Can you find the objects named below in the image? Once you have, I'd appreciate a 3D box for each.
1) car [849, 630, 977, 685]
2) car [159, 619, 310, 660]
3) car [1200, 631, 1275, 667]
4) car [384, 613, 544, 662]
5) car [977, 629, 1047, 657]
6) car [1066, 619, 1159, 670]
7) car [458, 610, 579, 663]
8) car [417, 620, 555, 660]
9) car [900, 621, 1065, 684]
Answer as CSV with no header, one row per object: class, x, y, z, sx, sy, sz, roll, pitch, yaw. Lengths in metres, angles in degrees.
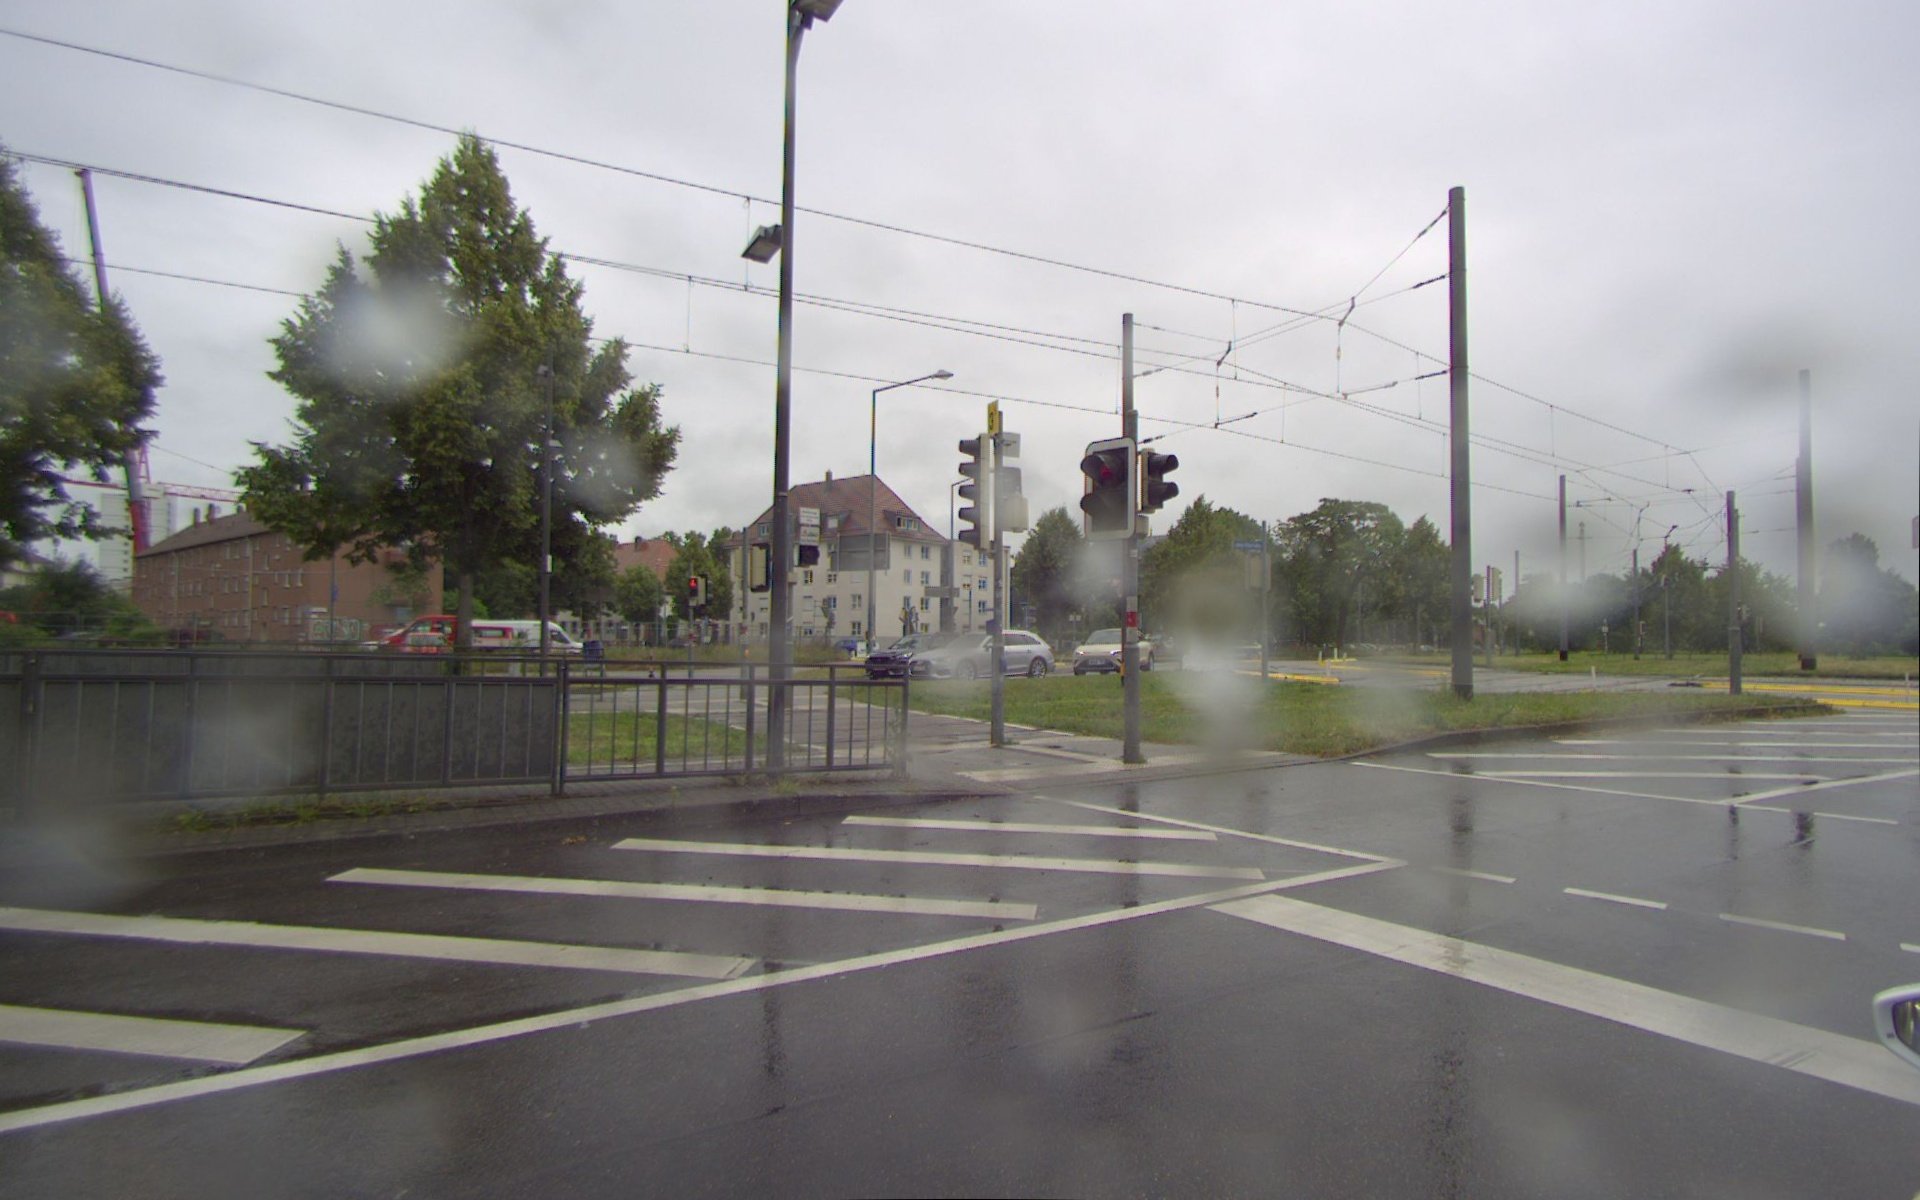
car,-1.378,1.708,31.069,1.802,1.506,3.985,2,0,37
car,-39.494,2.132,54.851,2.325,2.040,6.388,2,0,44
car,19.703,3.441,71.409,4.750,2.358,1.998,2,0,-6
car,-22.773,1.739,46.497,6.329,2.040,2.346,2,0,-20
car,3.828,3.139,73.726,4.747,1.835,1.999,2,0,22
car,5.133,1.418,33.376,1.818,1.506,4.221,2,0,27
car,-26.141,2.175,59.769,6.329,2.978,2.346,2,0,-20
car,-24.840,2.095,52.932,6.329,2.040,2.347,1,-2,-20
car,0.686,1.388,27.369,1.807,1.506,4.597,2,0,45
